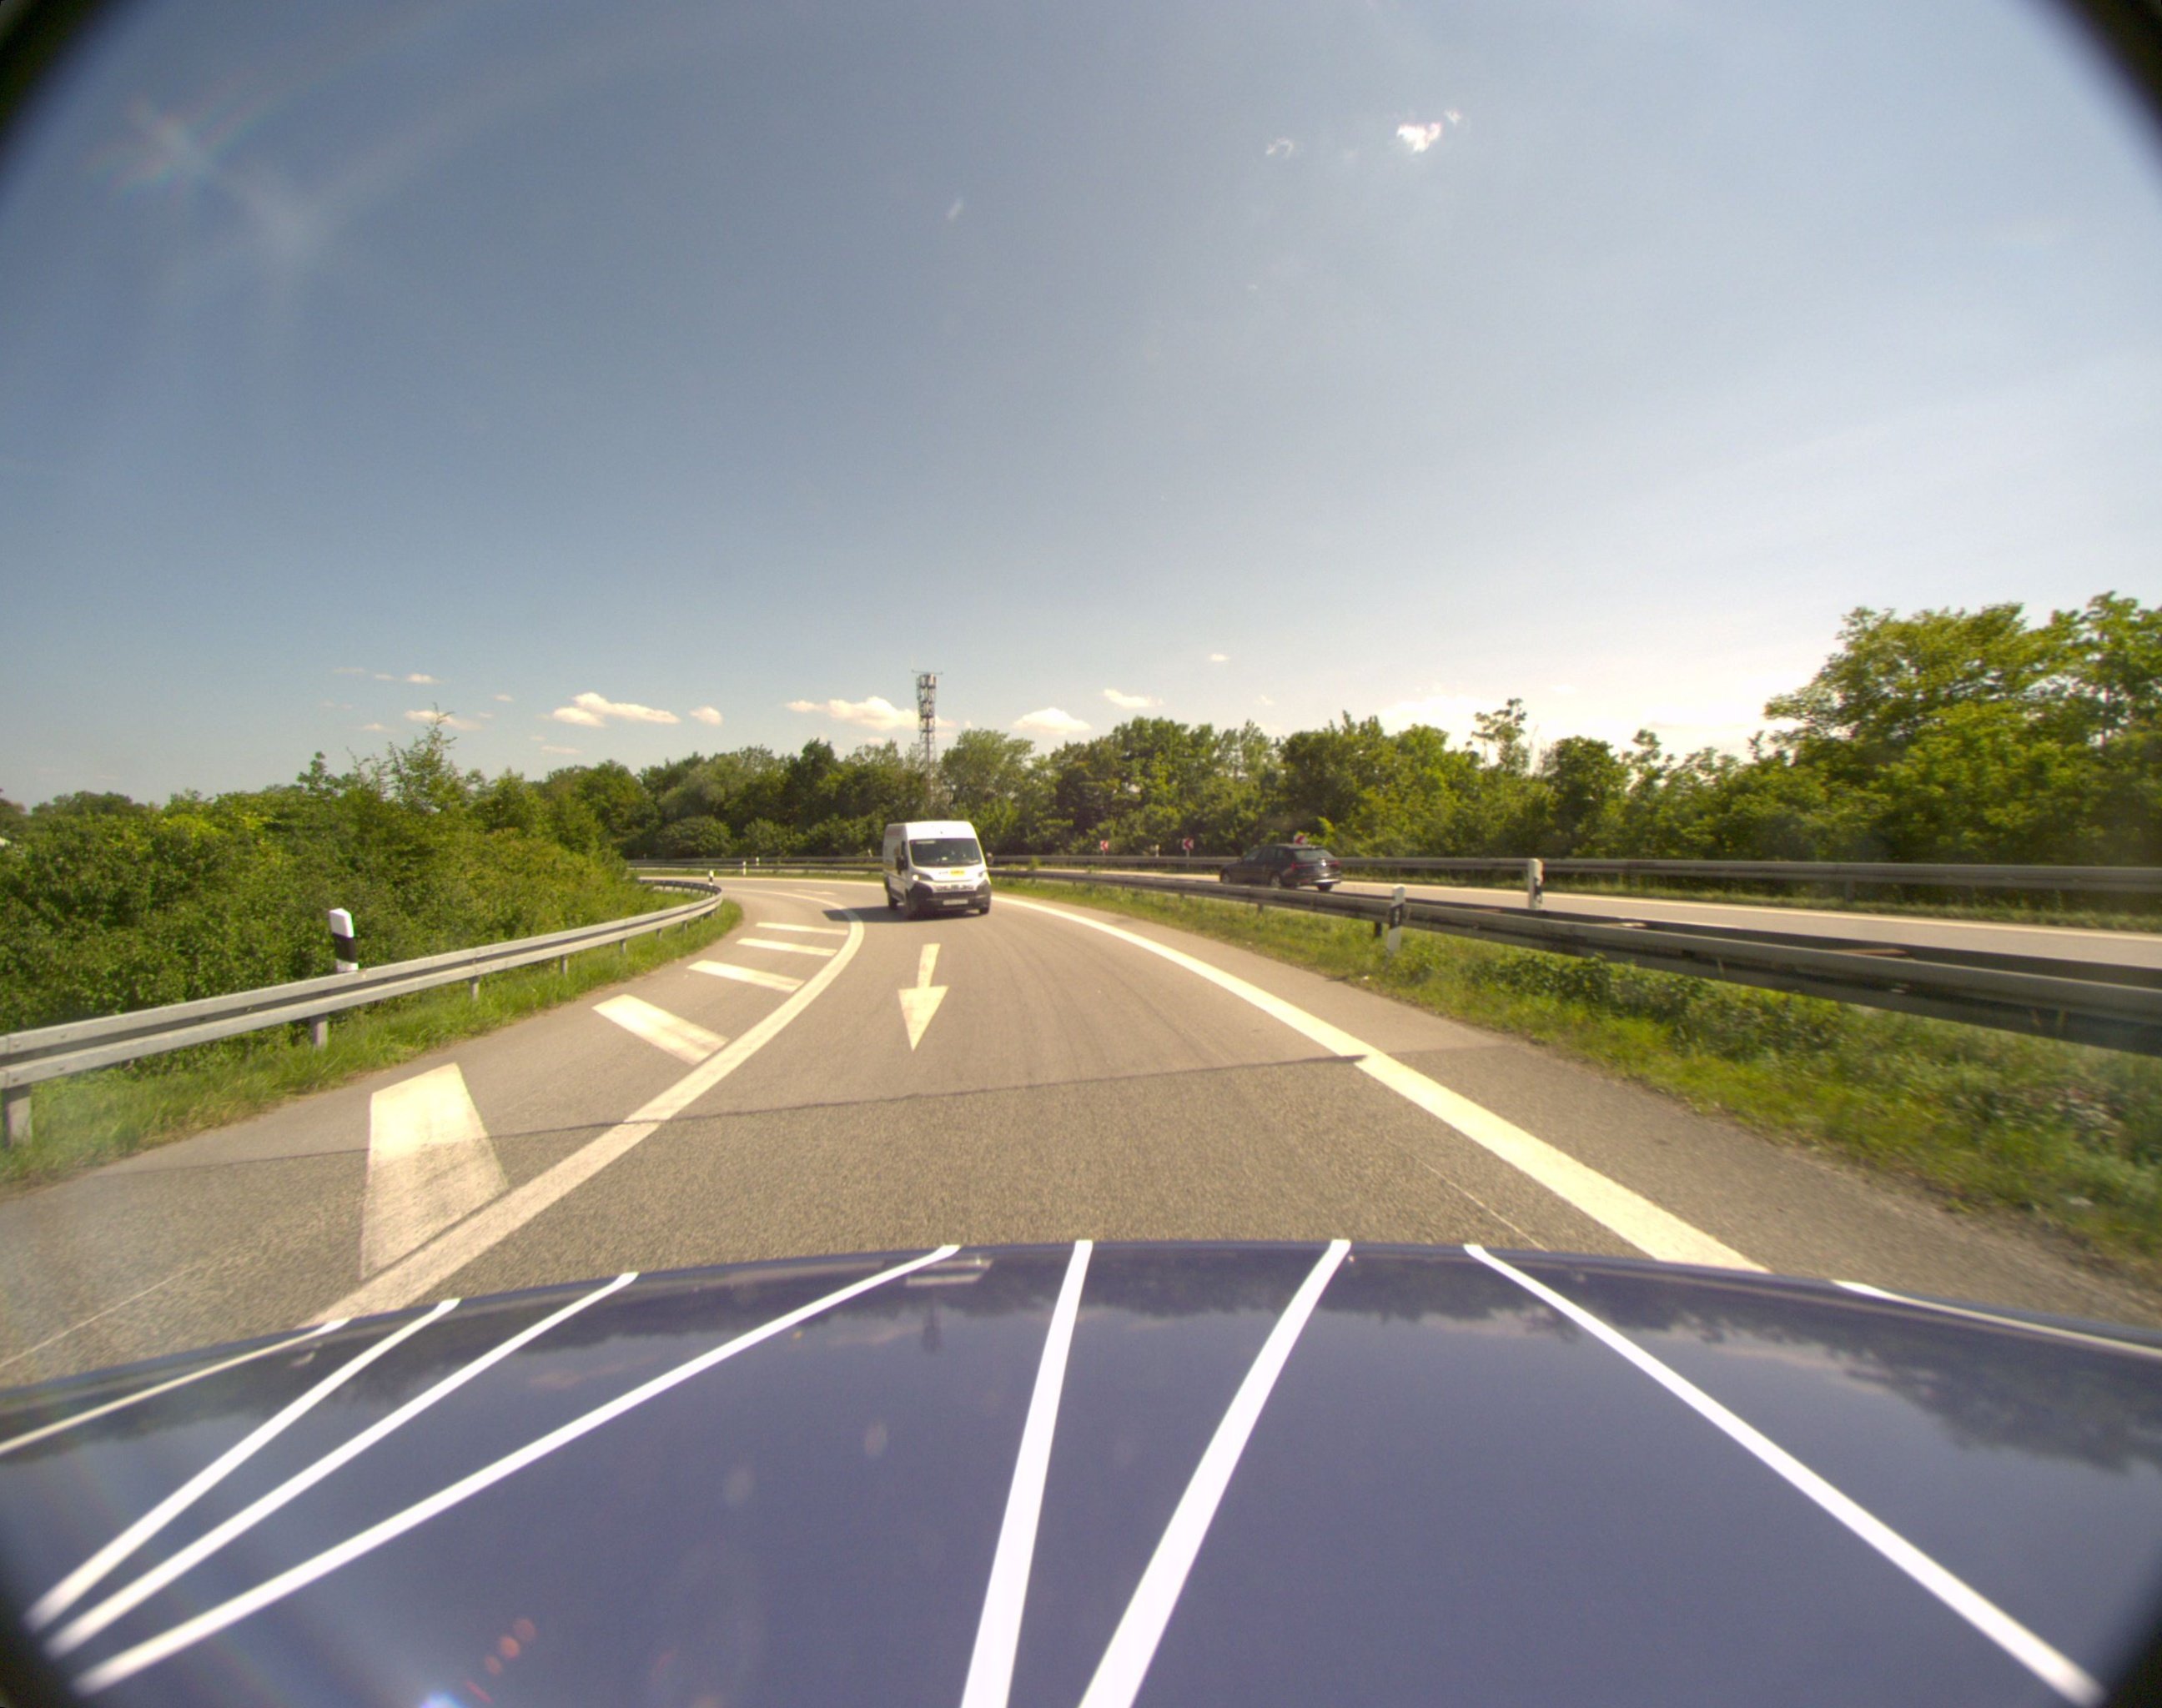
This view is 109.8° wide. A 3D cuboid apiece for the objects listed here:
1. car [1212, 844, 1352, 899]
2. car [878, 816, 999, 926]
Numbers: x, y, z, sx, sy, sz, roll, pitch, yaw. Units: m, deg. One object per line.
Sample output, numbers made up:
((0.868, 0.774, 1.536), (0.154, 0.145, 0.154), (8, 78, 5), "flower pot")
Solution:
((5.961, 0.460, 23.179), (1.801, 1.440, 4.695), (-2, 1, -18), "car")
((-4.149, 0.338, 21.066), (2.090, 2.510, 6.225), (-4, 2, -21), "car")
